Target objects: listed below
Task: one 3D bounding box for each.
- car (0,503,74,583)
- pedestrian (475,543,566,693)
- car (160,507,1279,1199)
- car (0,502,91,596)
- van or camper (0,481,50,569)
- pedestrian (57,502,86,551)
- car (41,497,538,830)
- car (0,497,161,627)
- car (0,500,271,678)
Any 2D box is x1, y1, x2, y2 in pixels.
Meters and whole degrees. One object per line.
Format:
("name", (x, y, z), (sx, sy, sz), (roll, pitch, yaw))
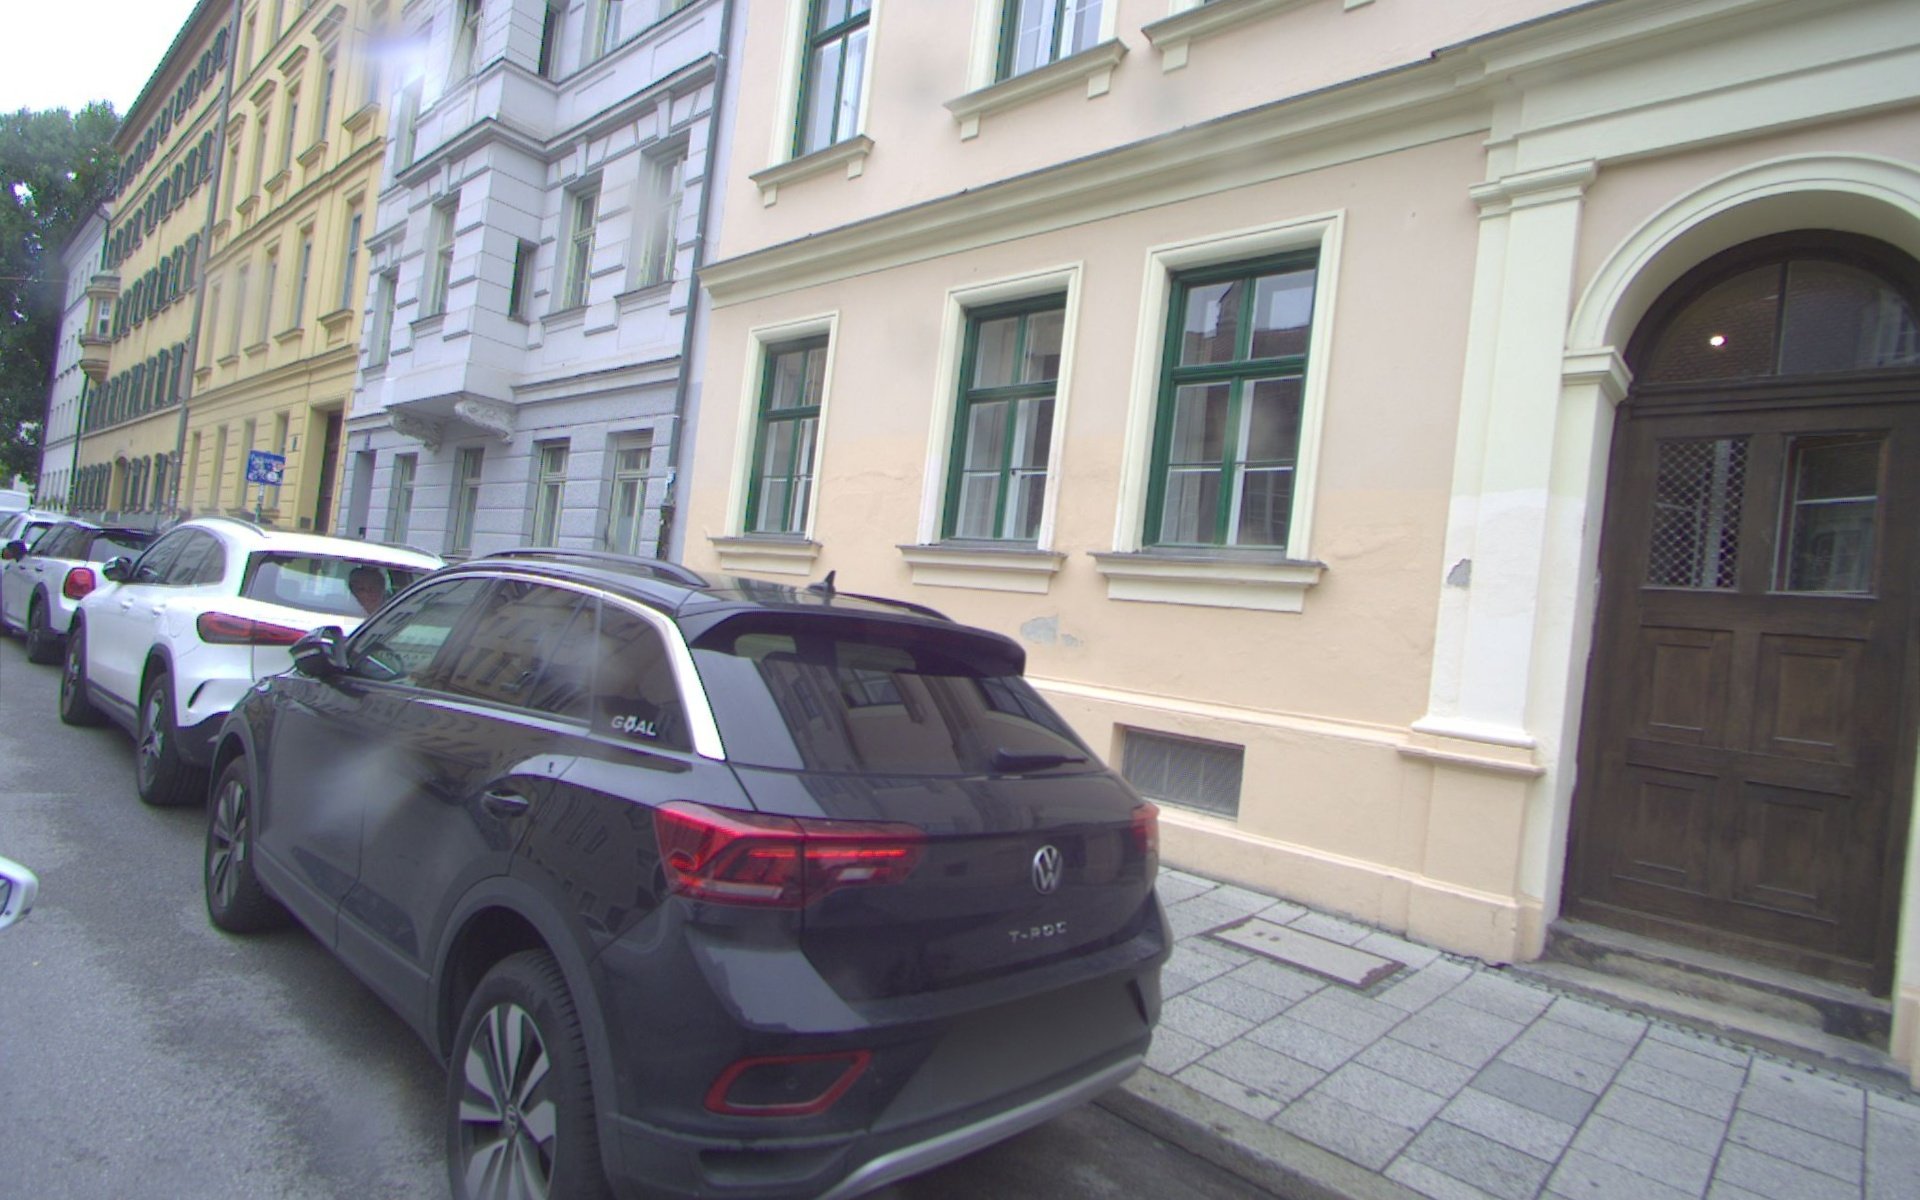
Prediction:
("car", (-21.659, -1.412, 22.674), (4.522, 1.527, 1.815), (6, -2, 41))
("pedestrian", (-4.917, 0.206, 11.261), (0.642, 1.595, 0.617), (4, 2, -45))
("car", (-1.268, 0.633, 3.529), (4.087, 1.585, 1.714), (6, -2, 43))
("car", (-18.201, -1.069, 19.385), (3.710, 1.527, 1.622), (6, -2, 42))
("van or camper", (-25.514, -2.101, 26.210), (5.160, 2.037, 1.991), (6, -2, 42))
("pedestrian", (-31.934, -2.639, 36.143), (0.883, 1.660, 0.595), (7, 2, 40))
("car", (-4.874, 0.263, 7.034), (4.263, 1.620, 1.715), (6, -2, 41))
("car", (-13.460, -0.637, 14.945), (4.408, 1.527, 1.715), (6, -2, 43))
("car", (-9.453, -0.177, 11.260), (3.879, 1.527, 1.717), (6, -2, 39))
